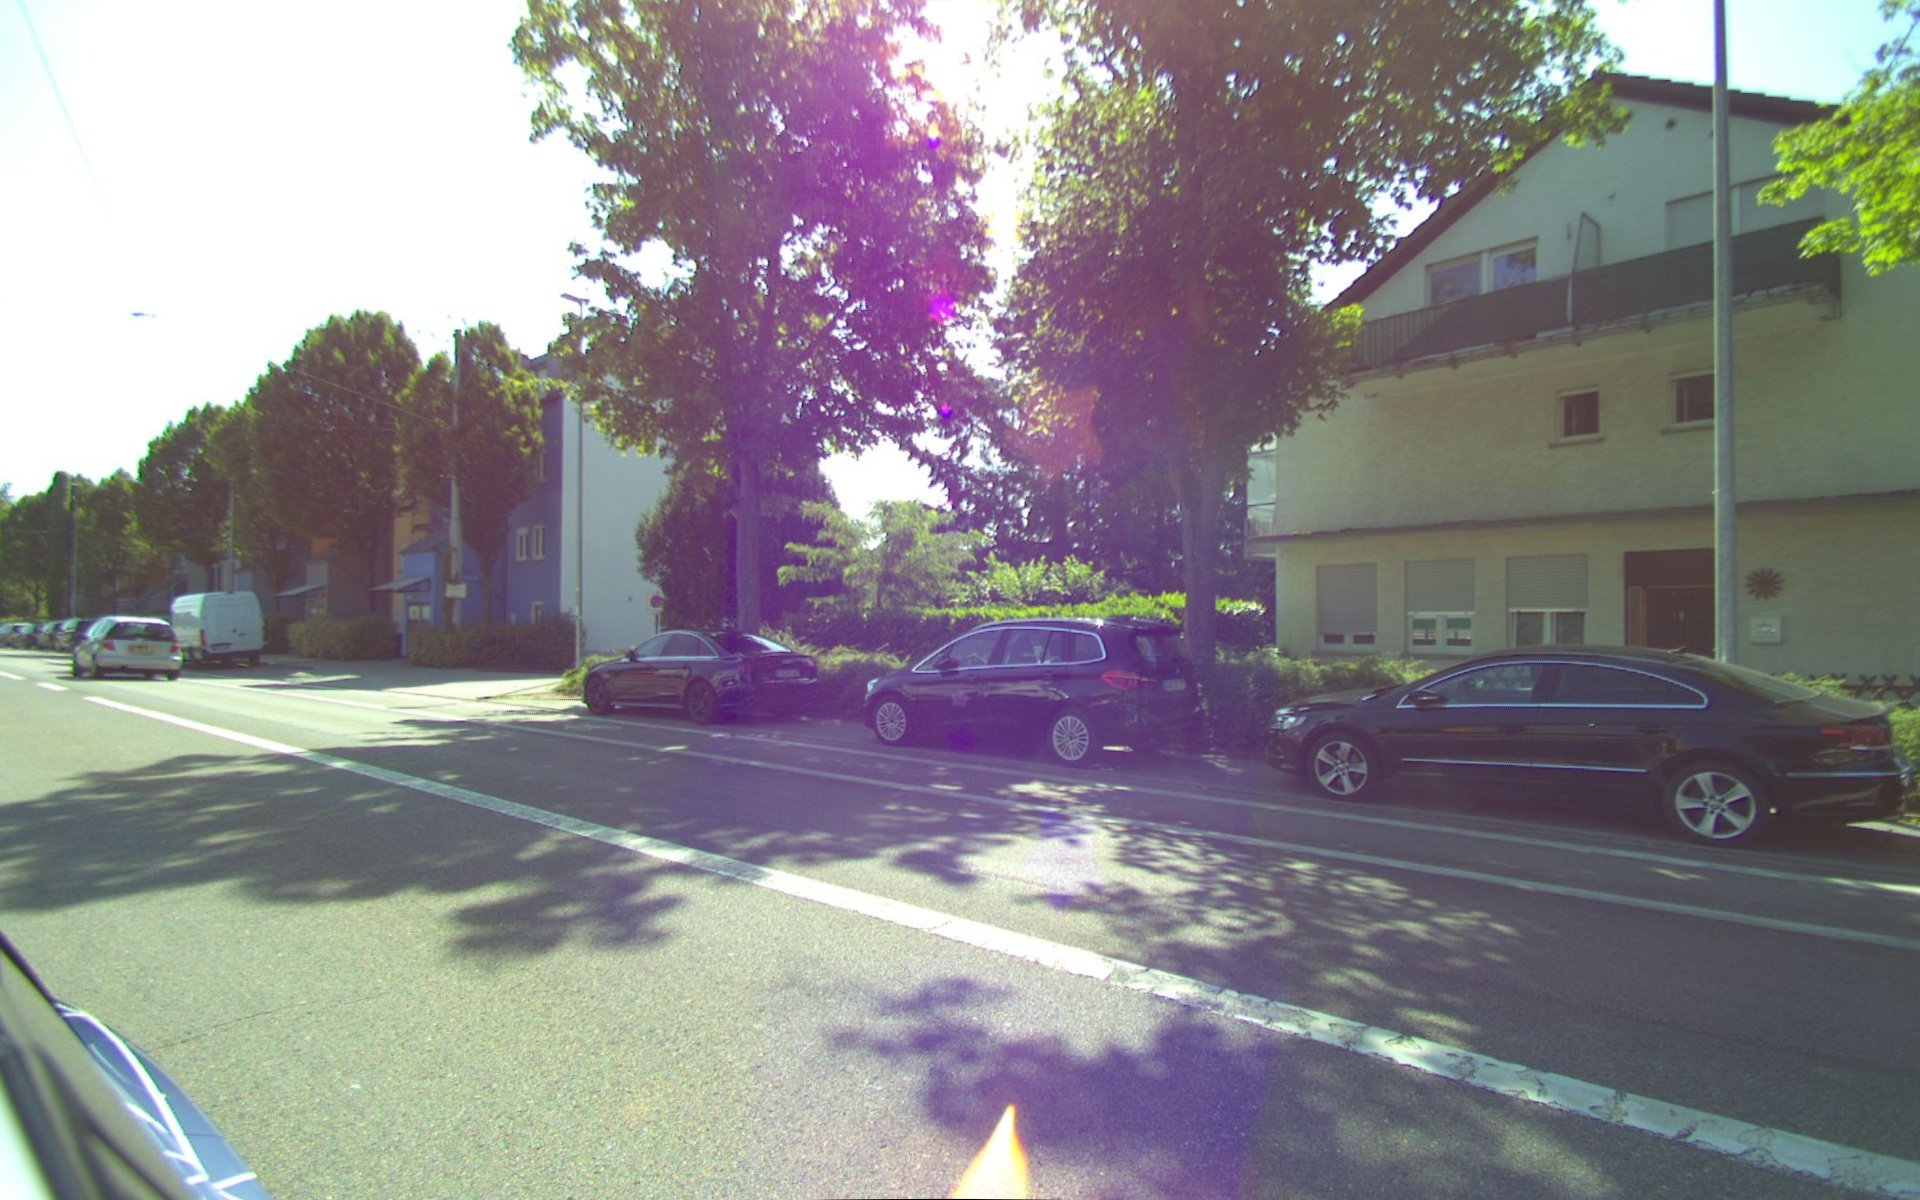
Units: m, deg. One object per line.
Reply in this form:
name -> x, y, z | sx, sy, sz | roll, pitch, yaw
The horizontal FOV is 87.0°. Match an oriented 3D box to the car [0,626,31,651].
car -> -60.482, 2.434, 64.197 | 3.760, 1.513, 1.659 | -1, 1, 38

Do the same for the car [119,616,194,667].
car -> -33.839, 1.701, 42.580 | 4.456, 1.951, 1.657 | -1, 1, 41

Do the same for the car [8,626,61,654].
car -> -54.866, 2.332, 59.990 | 3.760, 1.513, 1.659 | -1, 1, 38

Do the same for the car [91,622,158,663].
car -> -38.162, 1.907, 46.200 | 4.146, 1.681, 1.657 | -1, 1, 41

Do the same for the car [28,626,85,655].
car -> -50.583, 2.233, 56.633 | 3.760, 1.513, 1.659 | -1, 1, 38

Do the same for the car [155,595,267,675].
car -> -27.557, 1.231, 37.135 | 6.083, 2.671, 1.990 | -1, 1, 41

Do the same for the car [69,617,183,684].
car -> -21.834, 1.302, 26.452 | 4.001, 1.608, 1.821 | -1, -4, 44

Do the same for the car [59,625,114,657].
car -> -45.709, 2.116, 52.941 | 3.765, 1.513, 1.657 | -1, 1, 41

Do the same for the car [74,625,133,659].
car -> -42.185, 2.052, 49.834 | 3.765, 1.513, 1.657 | -1, 1, 41

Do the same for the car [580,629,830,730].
car -> -4.293, 1.219, 16.670 | 4.453, 1.447, 1.658 | -1, -3, 39

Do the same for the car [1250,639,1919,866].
car -> 4.972, 1.051, 8.604 | 4.580, 1.406, 1.678 | -1, -3, 43

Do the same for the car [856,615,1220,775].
car -> 0.820, 1.029, 12.280 | 4.238, 1.625, 1.658 | -1, -3, 39
